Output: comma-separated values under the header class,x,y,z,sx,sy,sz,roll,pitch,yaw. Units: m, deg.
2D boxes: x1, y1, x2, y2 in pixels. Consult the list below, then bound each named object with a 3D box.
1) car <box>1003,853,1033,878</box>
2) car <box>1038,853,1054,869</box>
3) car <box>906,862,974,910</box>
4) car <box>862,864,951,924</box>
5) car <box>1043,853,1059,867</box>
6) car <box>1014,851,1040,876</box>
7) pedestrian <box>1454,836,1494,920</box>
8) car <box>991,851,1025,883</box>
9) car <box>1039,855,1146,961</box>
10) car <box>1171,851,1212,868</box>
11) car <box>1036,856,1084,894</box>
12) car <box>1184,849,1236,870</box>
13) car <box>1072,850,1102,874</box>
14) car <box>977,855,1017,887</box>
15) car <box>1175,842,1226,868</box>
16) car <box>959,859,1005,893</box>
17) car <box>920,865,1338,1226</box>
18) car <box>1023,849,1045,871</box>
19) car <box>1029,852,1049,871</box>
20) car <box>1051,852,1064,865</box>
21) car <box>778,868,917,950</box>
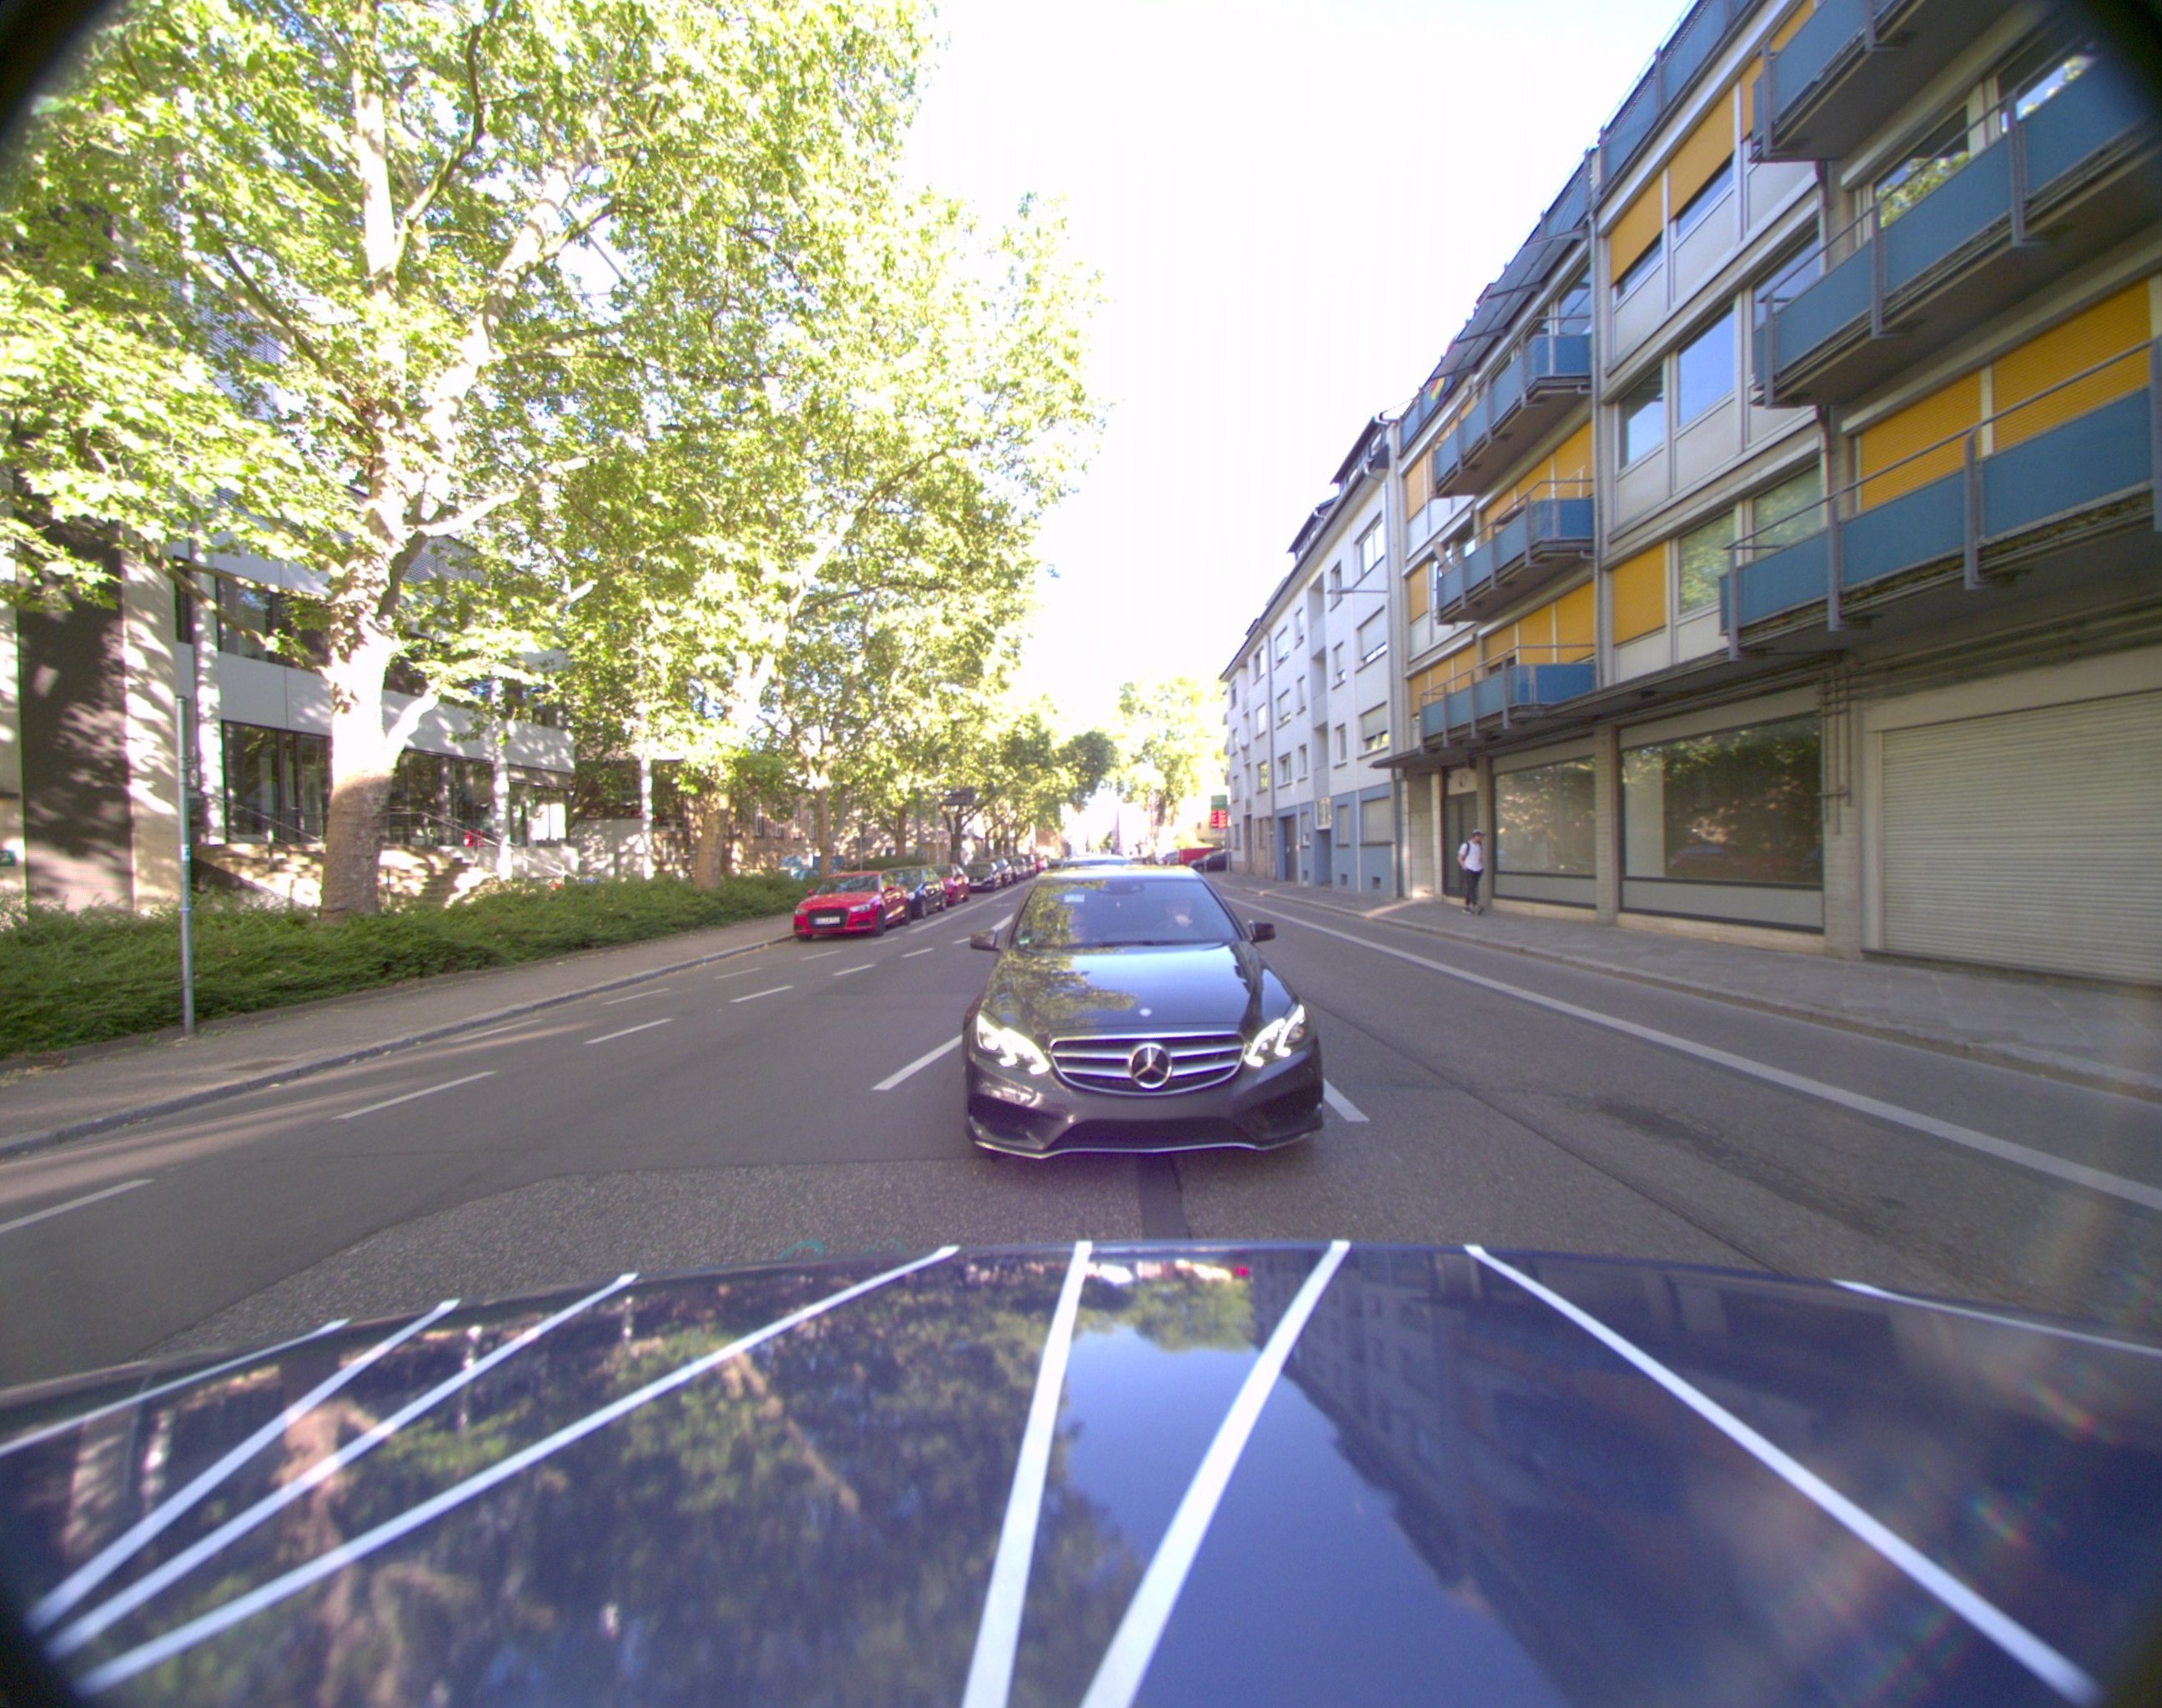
class,x,y,z,sx,sy,sz,roll,pitch,yaw
car,-4.474,0.805,54.390,1.635,1.644,3.845,-3,0,1
car,-4.084,0.800,89.580,1.635,1.713,3.673,-3,0,1
car,-5.014,1.100,27.455,1.635,1.455,3.740,-3,0,1
car,-5.017,1.110,22.290,1.635,1.455,3.740,-3,0,1
car,-3.764,0.763,95.822,1.635,1.713,3.673,-3,0,1
car,-4.207,0.731,59.218,1.635,1.799,3.673,-3,0,1
pedestrian,8.260,0.493,15.974,0.569,1.716,0.343,-3,1,0
car,-4.548,0.774,47.726,1.635,1.795,3.845,-3,0,1
car,0.217,0.894,14.568,1.680,1.622,4.125,-3,0,1
car,9.611,0.488,66.357,3.325,1.241,1.295,-3,1,0
car,-0.850,0.861,33.146,1.853,1.455,4.098,-3,0,1
car,9.926,0.431,58.460,3.670,1.403,1.636,-3,0,0
car,0.410,0.498,50.261,1.829,1.455,4.098,-3,0,1
car,-4.597,0.901,41.879,1.635,1.578,3.845,-3,0,1
car,10.018,0.104,63.730,3.928,1.912,1.636,-3,1,0
car,-4.753,1.033,37.015,1.635,1.455,3.740,-3,0,1
car,0.240,0.892,5.472,1.804,1.455,4.125,-3,0,1
car,-4.338,0.526,70.063,1.635,1.878,3.673,-3,0,1
car,-4.092,0.736,74.719,1.635,1.713,3.673,-3,0,1
car,-3.241,0.609,106.518,1.635,1.713,3.673,-3,0,1
car,-5.166,1.156,17.453,1.804,1.455,4.125,-3,0,1
